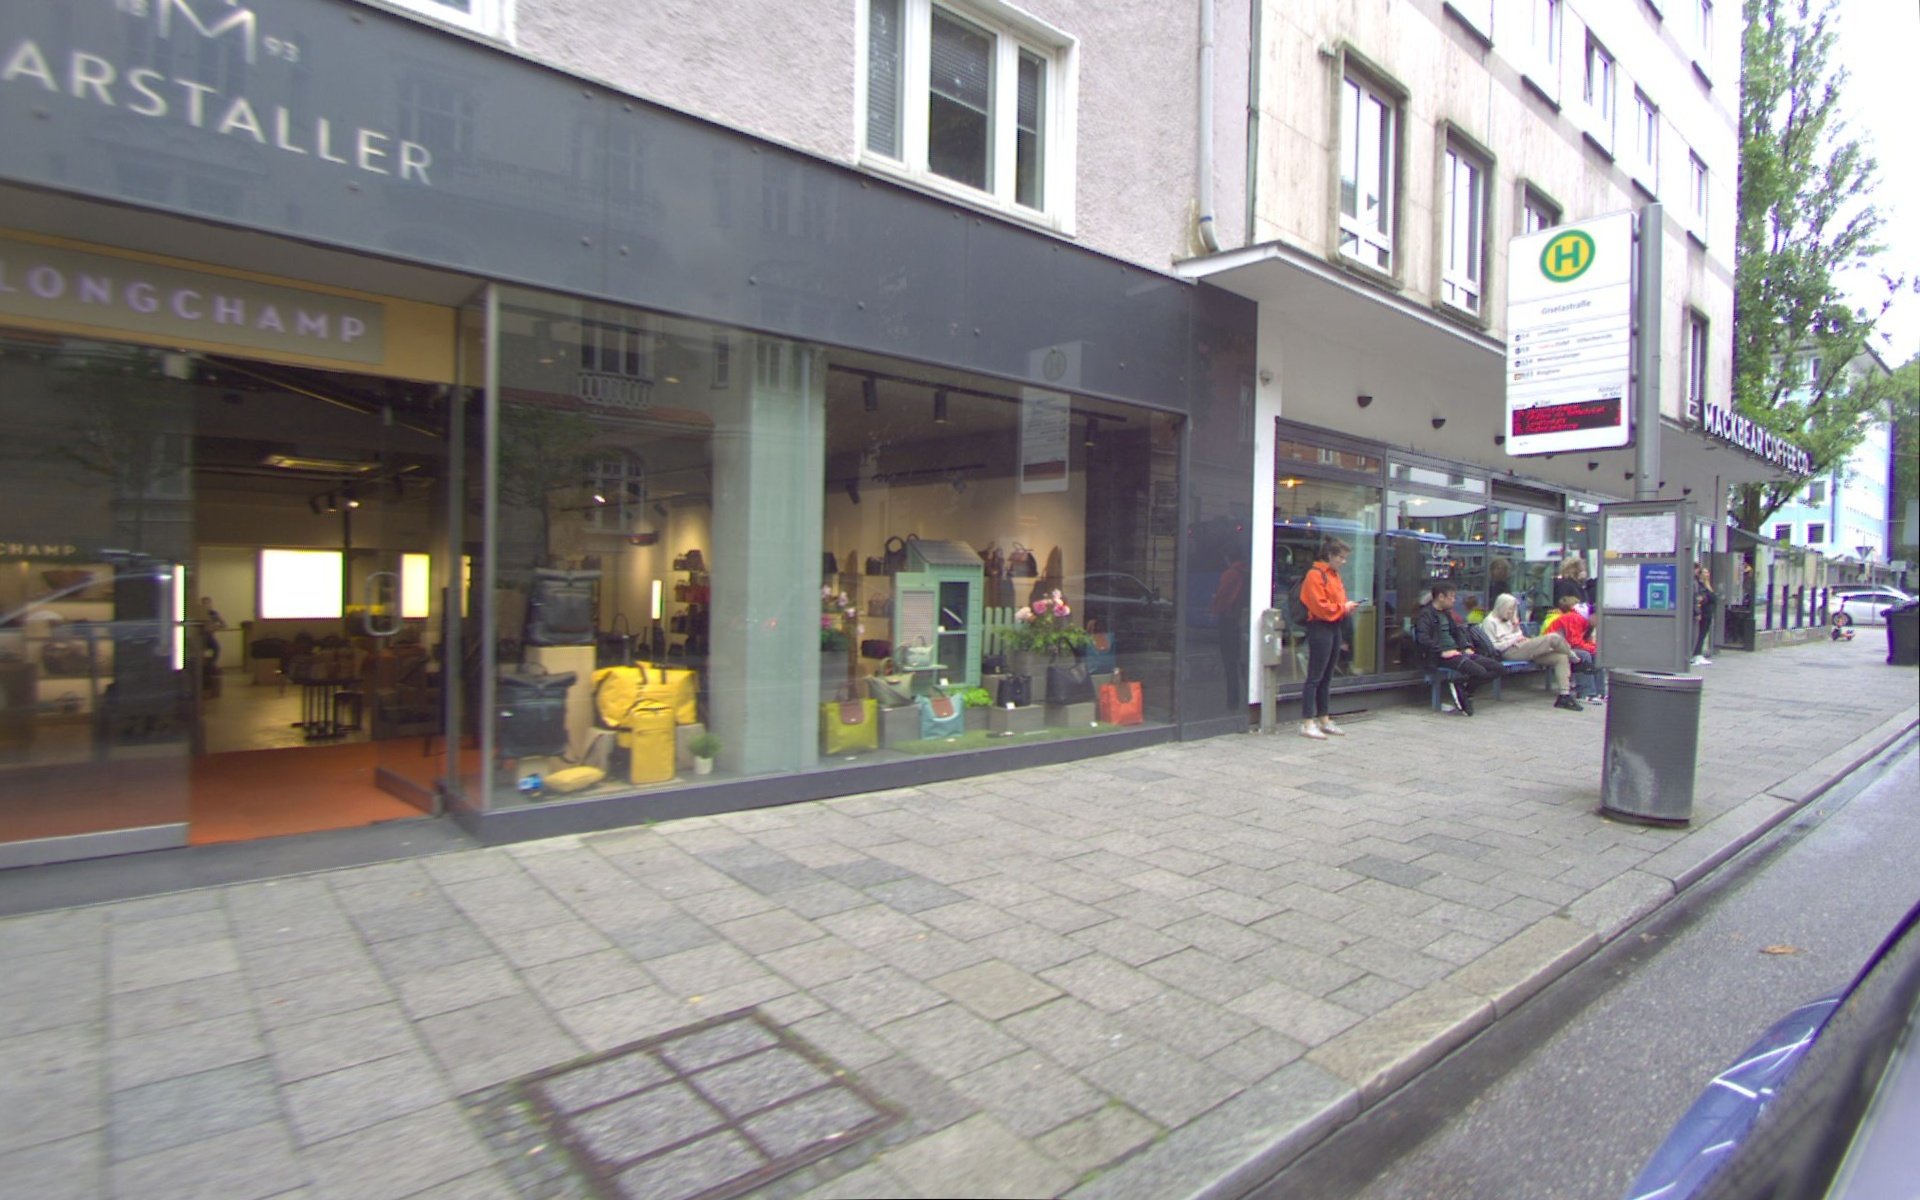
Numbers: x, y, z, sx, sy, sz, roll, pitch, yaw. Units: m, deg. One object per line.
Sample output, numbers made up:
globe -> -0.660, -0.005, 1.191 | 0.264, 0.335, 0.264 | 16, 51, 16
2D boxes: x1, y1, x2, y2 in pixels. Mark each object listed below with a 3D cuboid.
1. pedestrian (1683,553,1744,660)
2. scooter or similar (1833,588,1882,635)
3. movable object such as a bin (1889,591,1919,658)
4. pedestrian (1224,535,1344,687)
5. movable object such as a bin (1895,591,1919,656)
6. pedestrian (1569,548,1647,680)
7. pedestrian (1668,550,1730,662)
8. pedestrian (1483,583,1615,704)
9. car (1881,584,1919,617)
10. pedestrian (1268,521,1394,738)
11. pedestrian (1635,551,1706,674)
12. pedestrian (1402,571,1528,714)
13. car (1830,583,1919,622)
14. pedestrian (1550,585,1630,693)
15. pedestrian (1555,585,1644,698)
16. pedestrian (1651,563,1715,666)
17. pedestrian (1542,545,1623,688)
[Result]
pedestrian -> 13.138, 0.099, 17.648 | 0.757, 1.805, 0.659 | 0, 2, -40
scooter or similar -> 24.653, 0.293, 27.790 | 1.415, 1.257, 0.565 | 0, 1, -30
movable object such as a bin -> 18.512, 0.464, 19.479 | 0.875, 1.266, 0.786 | 2, 2, 45
pedestrian -> 3.166, 0.088, 9.893 | 0.829, 1.405, 0.771 | 0, 2, -41
movable object such as a bin -> 19.136, 0.467, 20.025 | 0.875, 1.266, 0.786 | 2, 2, 45
pedestrian -> 8.896, 0.171, 13.897 | 0.764, 1.754, 0.659 | 0, 2, -40
pedestrian -> 12.541, 0.081, 17.185 | 0.683, 1.845, 0.659 | 0, 2, -40
pedestrian -> 6.564, 0.449, 11.304 | 0.656, 1.252, 1.099 | 0, 2, -39
car -> 44.108, 0.092, 44.286 | 1.965, 1.446, 5.437 | 0, 2, -41
pedestrian -> 3.174, 0.223, 8.661 | 0.733, 1.754, 0.704 | 0, 2, -40
pedestrian -> 10.477, 0.171, 14.929 | 0.683, 1.754, 0.659 | 0, 2, -40
pedestrian -> 5.173, 0.401, 10.372 | 0.847, 1.369, 0.862 | 0, 2, -40
car -> 37.236, 0.107, 39.925 | 1.965, 1.446, 4.166 | 0, 2, -41
pedestrian -> 7.676, 0.454, 12.340 | 0.487, 1.252, 0.681 | 0, 2, -39
pedestrian -> 7.462, 0.462, 11.821 | 0.574, 1.252, 0.709 | 0, 2, -39
pedestrian -> 11.682, 0.210, 16.349 | 0.683, 1.613, 0.659 | 0, 2, -40
pedestrian -> 7.938, 0.191, 12.905 | 0.672, 1.754, 0.659 | 0, 2, -40
